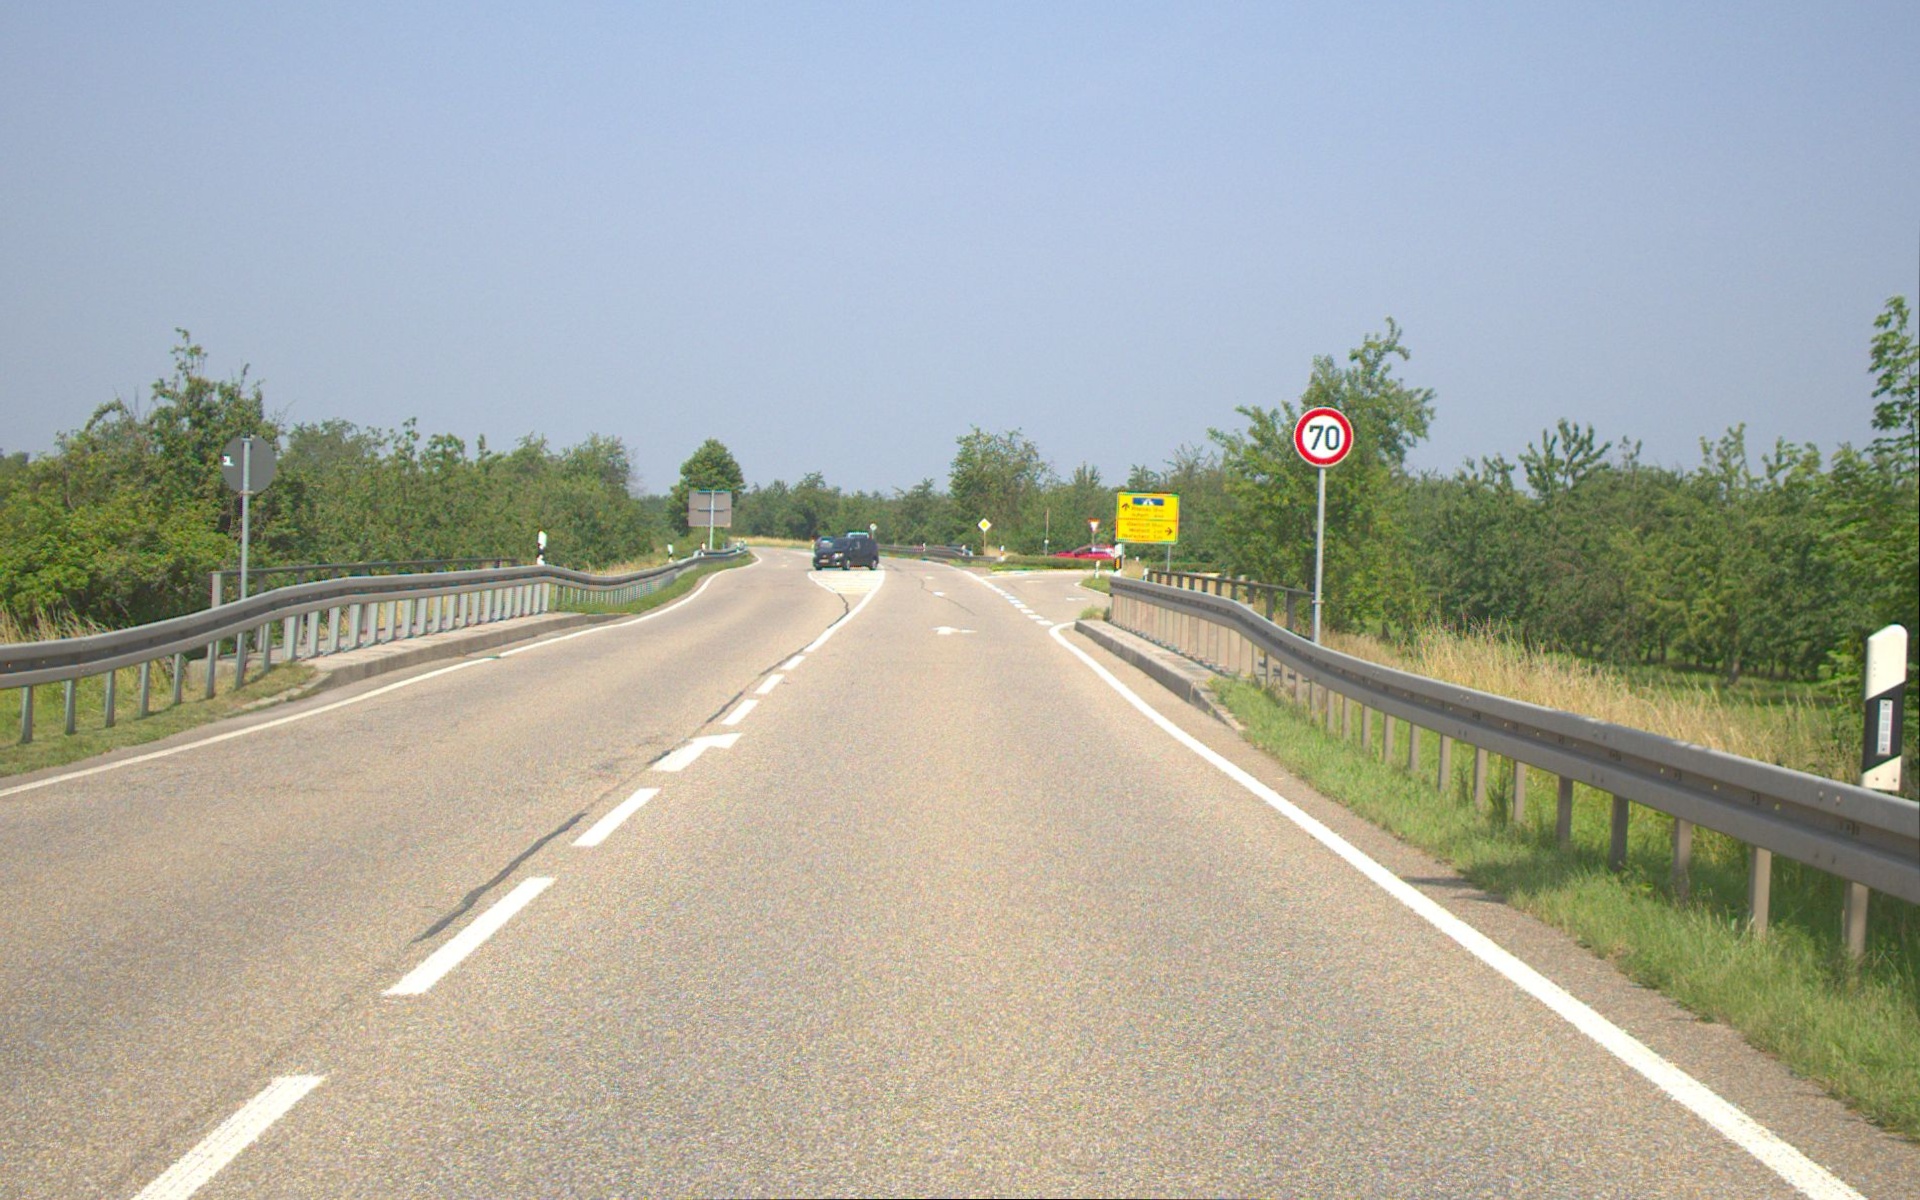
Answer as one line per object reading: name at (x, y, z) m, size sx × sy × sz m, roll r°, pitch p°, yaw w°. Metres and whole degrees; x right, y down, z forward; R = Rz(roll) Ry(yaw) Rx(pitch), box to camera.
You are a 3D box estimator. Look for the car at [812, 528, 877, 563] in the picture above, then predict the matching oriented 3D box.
car at (-5.625, -2.640, 168.132) m, size 1.805 × 1.632 × 4.806 m, roll 1°, pitch 1°, yaw 16°
